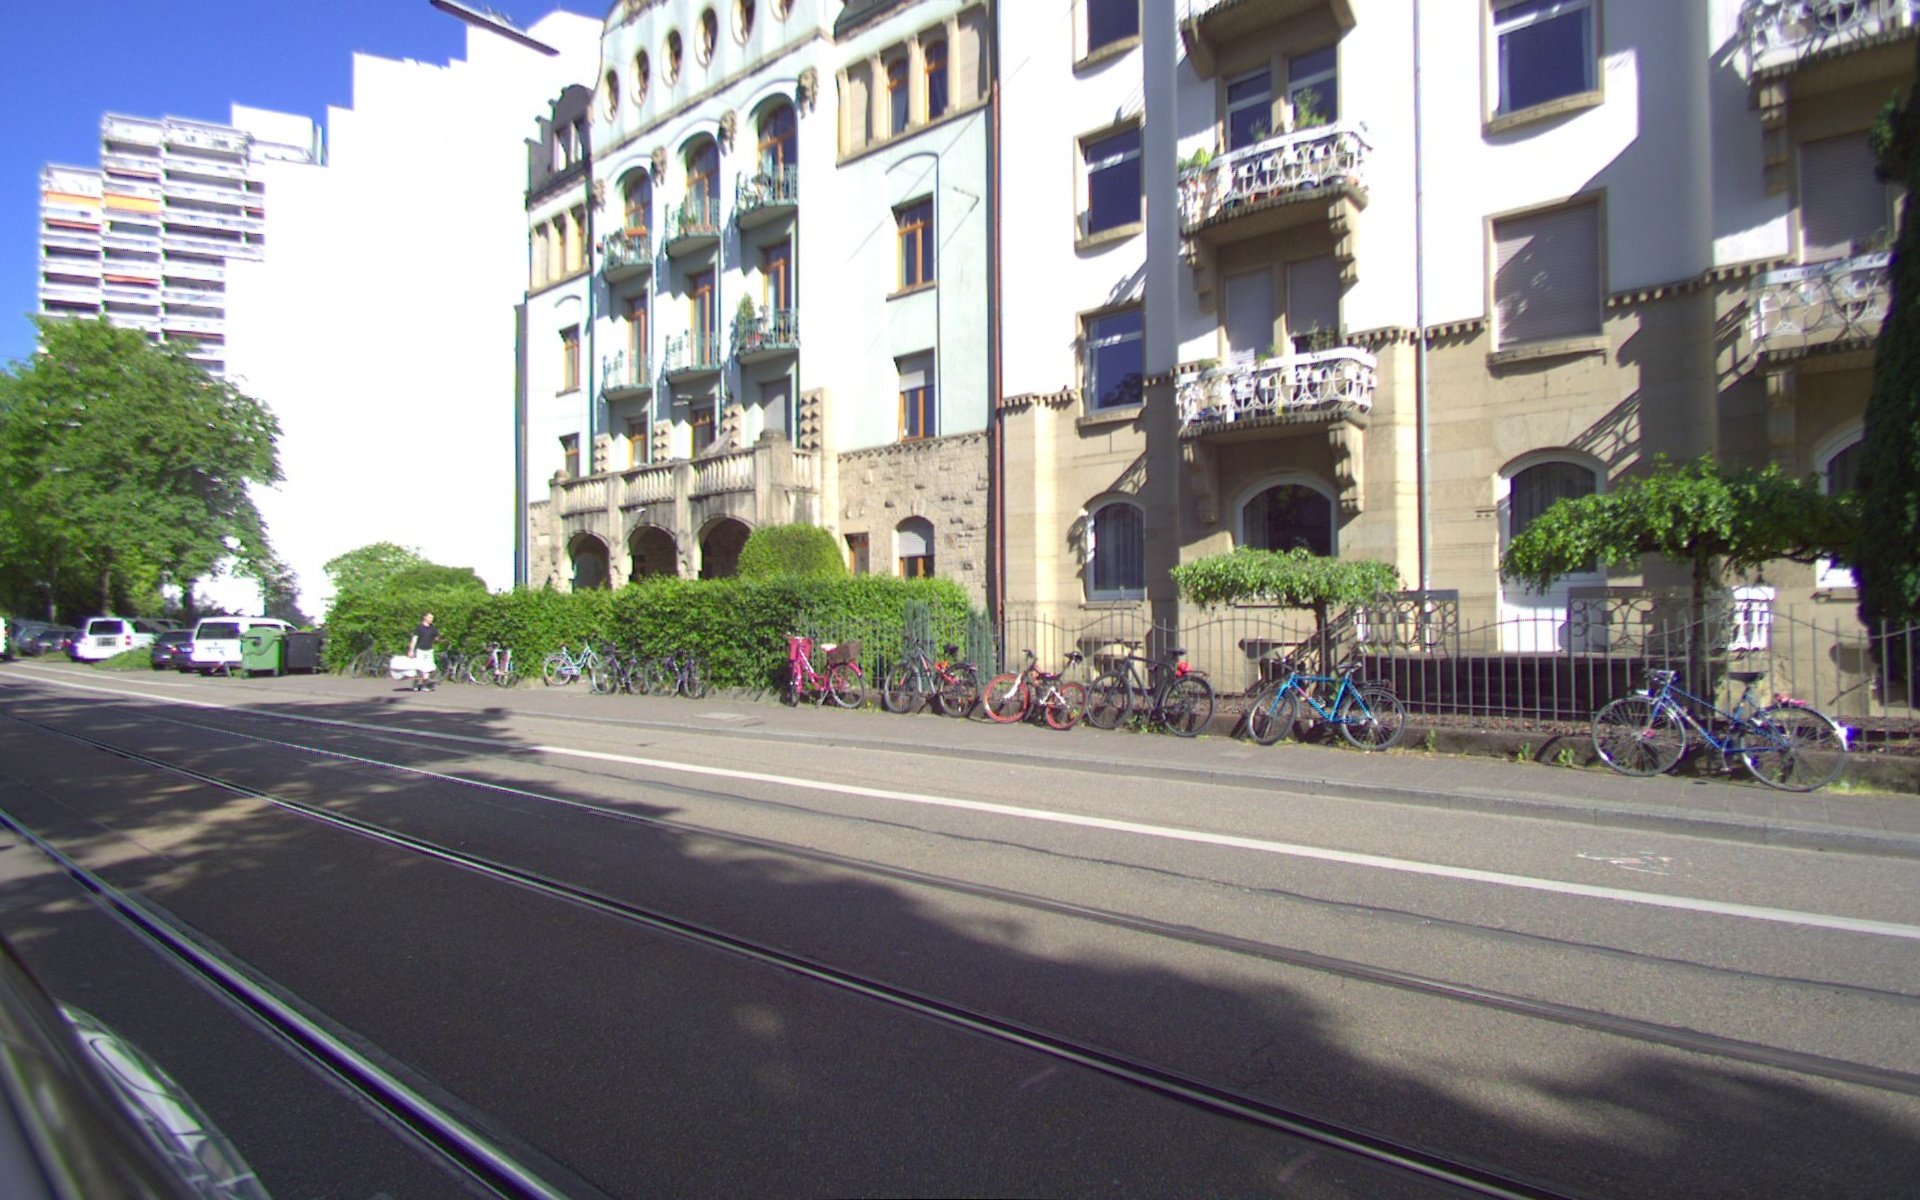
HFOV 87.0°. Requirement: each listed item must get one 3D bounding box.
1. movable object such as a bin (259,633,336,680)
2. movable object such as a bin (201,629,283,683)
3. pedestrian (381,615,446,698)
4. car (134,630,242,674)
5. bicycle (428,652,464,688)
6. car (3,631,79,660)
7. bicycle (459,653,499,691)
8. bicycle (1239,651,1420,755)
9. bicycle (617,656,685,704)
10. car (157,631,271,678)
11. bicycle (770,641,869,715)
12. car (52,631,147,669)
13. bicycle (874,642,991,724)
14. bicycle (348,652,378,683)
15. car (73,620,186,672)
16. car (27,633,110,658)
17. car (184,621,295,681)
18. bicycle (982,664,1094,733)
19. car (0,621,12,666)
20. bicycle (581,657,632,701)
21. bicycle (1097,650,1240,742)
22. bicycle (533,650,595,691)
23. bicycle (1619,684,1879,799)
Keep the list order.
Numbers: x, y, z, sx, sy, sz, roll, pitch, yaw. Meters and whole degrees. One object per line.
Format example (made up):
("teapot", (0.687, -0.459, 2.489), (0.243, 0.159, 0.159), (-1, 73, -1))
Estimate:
("movable object such as a bin", (-20.462, 1.720, 31.262), (2.095, 1.326, 1.482), (-1, 0, 41))
("movable object such as a bin", (-20.814, 1.592, 29.338), (2.095, 1.443, 1.493), (-1, 0, 41))
("pedestrian", (-11.608, 1.183, 21.497), (0.870, 1.640, 0.858), (-1, 4, 41))
("car", (-27.689, 1.833, 36.351), (1.451, 1.446, 2.734), (-1, 0, 24))
("bicycle", (-11.955, 1.618, 23.506), (1.263, 0.767, 0.293), (-1, 0, 41))
("car", (-48.451, 2.380, 53.376), (1.220, 1.436, 2.734), (-1, 0, 24))
("bicycle", (-10.610, 1.585, 22.324), (1.263, 0.767, 0.314), (-1, 0, 41))
("bicycle", (3.830, 1.041, 10.604), (1.748, 0.949, 0.400), (-1, 0, 41))
("bicycle", (-5.581, 1.419, 18.241), (1.581, 0.767, 0.400), (-1, 0, 41))
("car", (-25.132, 1.800, 34.163), (1.451, 1.446, 2.734), (-1, 0, 24))
("bicycle", (-2.162, 1.158, 15.441), (1.815, 1.031, 0.400), (-1, 0, 41))
("car", (-36.170, 2.086, 42.591), (1.451, 1.446, 2.734), (-1, 0, 24))
("bicycle", (-0.408, 1.119, 14.029), (1.815, 1.031, 0.400), (-1, 0, 41))
("bicycle", (-15.644, 1.763, 26.494), (1.263, 0.767, 0.293), (-1, 0, 41))
("car", (-33.299, 1.797, 40.695), (1.894, 1.885, 3.447), (-1, 0, -4))
("car", (-42.927, 2.181, 48.769), (1.220, 1.097, 2.734), (-1, 0, 24))
("car", (-22.856, 1.618, 32.231), (1.438, 1.787, 3.189), (-1, -3, -5))
("bicycle", (0.969, 1.229, 12.858), (1.542, 0.767, 0.314), (-1, 0, 41))
("car", (-43.634, 1.937, 44.931), (1.968, 1.918, 4.007), (-1, 0, -39))
("bicycle", (-6.723, 1.487, 19.217), (1.263, 0.767, 0.335), (-1, 0, 41))
("bicycle", (2.399, 1.082, 11.783), (1.648, 0.949, 0.400), (-1, 0, 41))
("bicycle", (-8.574, 1.523, 21.943), (0.297, 0.799, 1.246), (-1, 0, 41))
("bicycle", (6.412, 1.122, 8.306), (1.651, 0.767, 0.314), (-1, 0, 41))
